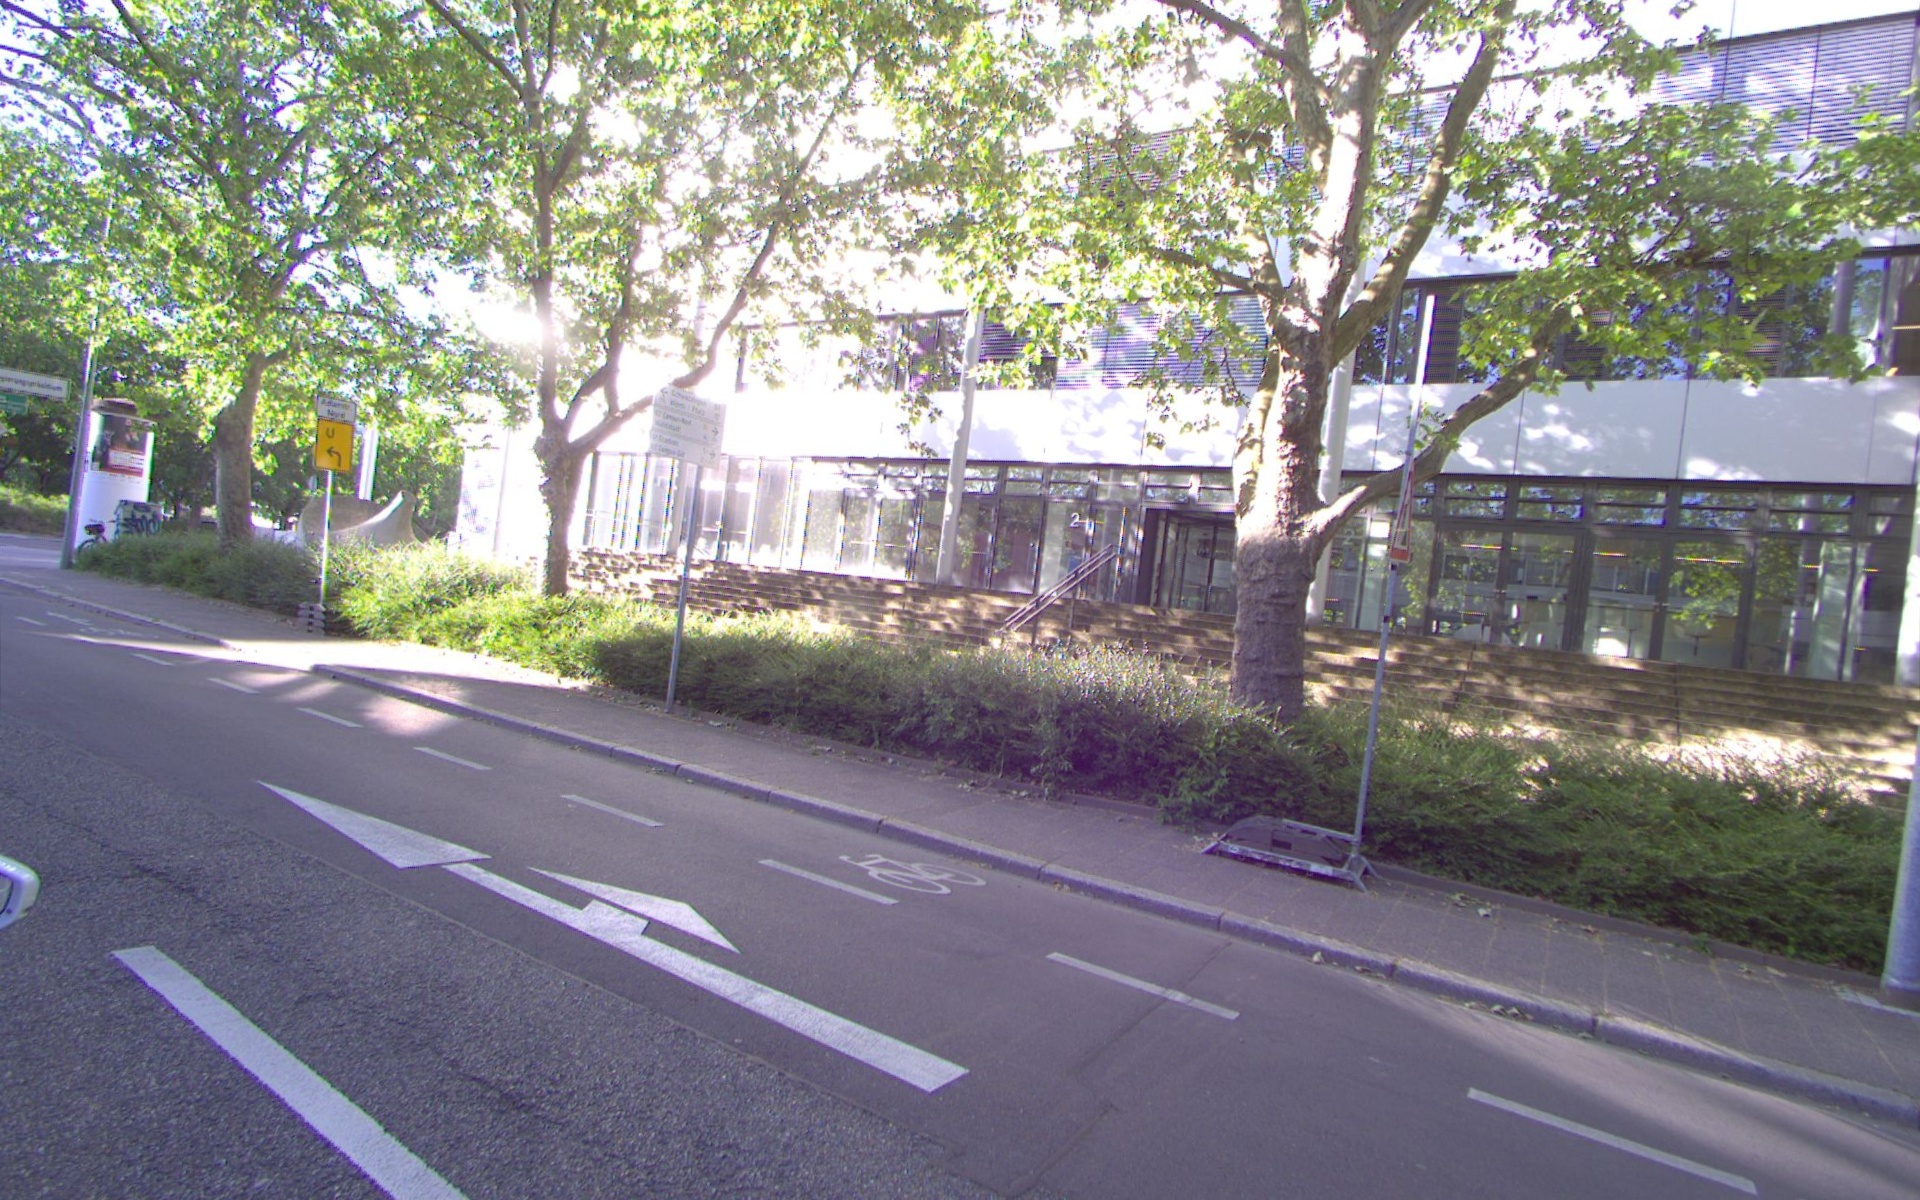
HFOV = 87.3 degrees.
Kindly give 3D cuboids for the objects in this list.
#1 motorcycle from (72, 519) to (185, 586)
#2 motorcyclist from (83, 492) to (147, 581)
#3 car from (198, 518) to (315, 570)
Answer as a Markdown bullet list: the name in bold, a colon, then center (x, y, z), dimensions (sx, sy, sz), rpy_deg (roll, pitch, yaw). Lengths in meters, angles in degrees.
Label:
- **motorcycle**: center (-19.214, -1.090, 23.283), dimensions (0.712, 1.257, 1.781), rpy_deg (6, -2, 37)
- **motorcyclist**: center (-19.342, -1.444, 23.035), dimensions (0.662, 1.885, 0.823), rpy_deg (6, -1, 37)
- **car**: center (-32.687, -2.566, 46.825), dimensions (1.708, 1.792, 3.995), rpy_deg (7, -1, 30)
